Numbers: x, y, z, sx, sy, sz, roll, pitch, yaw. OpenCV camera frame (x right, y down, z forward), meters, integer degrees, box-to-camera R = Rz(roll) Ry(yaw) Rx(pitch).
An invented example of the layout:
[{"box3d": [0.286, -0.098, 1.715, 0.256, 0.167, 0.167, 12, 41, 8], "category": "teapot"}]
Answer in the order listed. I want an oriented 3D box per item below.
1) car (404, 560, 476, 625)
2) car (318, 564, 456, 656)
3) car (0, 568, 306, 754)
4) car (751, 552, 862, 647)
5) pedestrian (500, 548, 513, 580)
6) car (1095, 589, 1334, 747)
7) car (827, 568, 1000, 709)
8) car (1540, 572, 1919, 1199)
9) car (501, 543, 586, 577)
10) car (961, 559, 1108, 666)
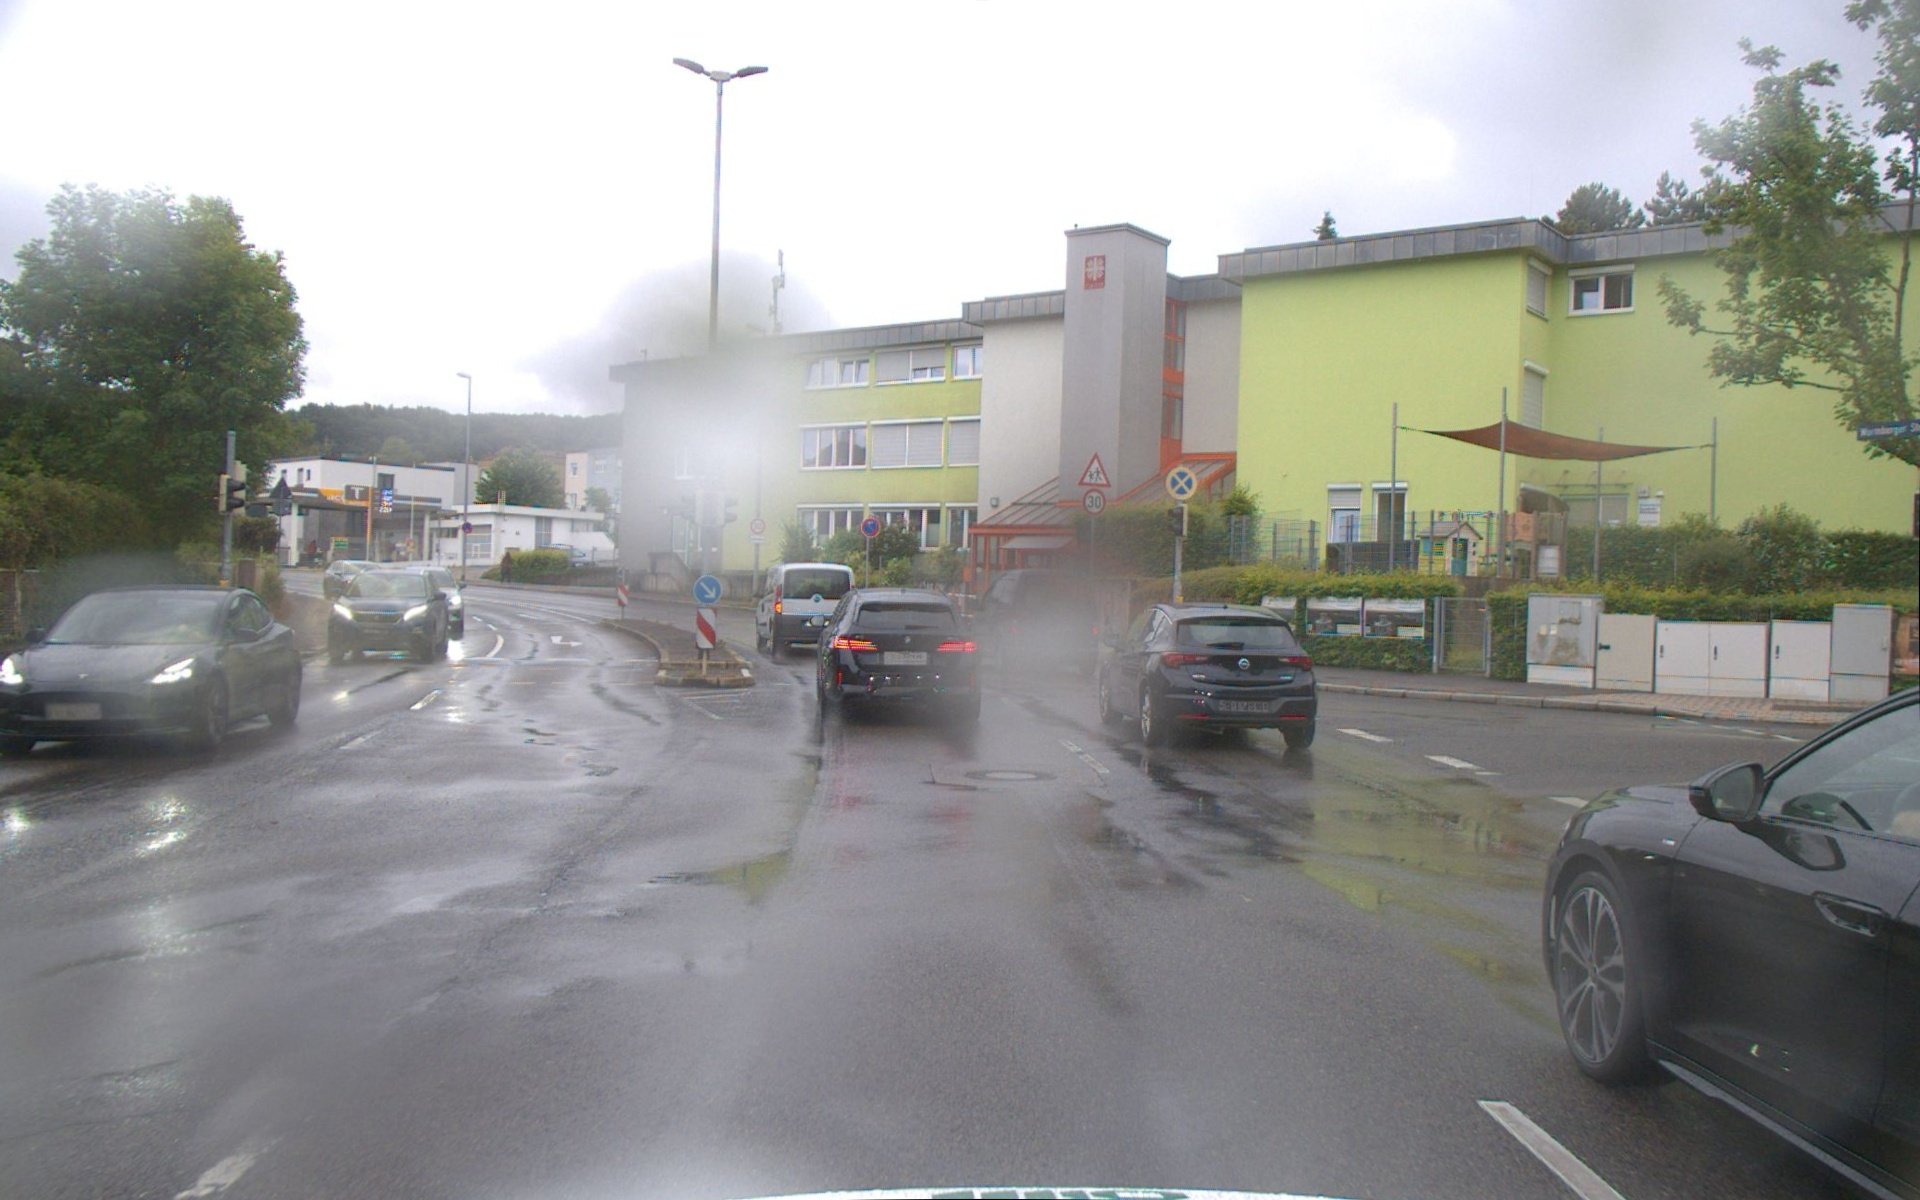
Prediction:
[{"box3d": [-13.580, -0.203, 43.341, 1.593, 1.609, 3.759, -1, 1, -14], "category": "car"}, {"box3d": [-10.635, 0.154, 30.960, 1.816, 1.592, 3.990, 0, 0, -10], "category": "car"}, {"box3d": [-7.555, 0.479, 15.728, 1.761, 1.515, 4.142, -1, 1, -11], "category": "car"}, {"box3d": [-3.306, -0.063, 35.022, 1.688, 1.876, 4.071, -1, 1, -15], "category": "car"}, {"box3d": [-22.849, -1.813, 83.363, 0.414, 1.648, 0.471, 0, 0, 42], "category": "pedestrian"}, {"box3d": [2.694, 0.661, 18.440, 1.813, 1.512, 4.084, 1, 1, -3], "category": "car"}, {"box3d": [-0.655, 0.404, 20.053, 1.651, 1.532, 3.766, 0, 0, -9], "category": "car"}, {"box3d": [2.963, 0.689, 3.648, 1.672, 1.452, 4.508, 2, 1, -1], "category": "car"}, {"box3d": [-22.232, -2.128, 88.282, 4.323, 1.803, 1.991, -1, 0, -16], "category": "car"}, {"box3d": [1.277, 0.158, 29.969, 1.751, 1.764, 4.076, -1, 2, -11], "category": "car"}]
